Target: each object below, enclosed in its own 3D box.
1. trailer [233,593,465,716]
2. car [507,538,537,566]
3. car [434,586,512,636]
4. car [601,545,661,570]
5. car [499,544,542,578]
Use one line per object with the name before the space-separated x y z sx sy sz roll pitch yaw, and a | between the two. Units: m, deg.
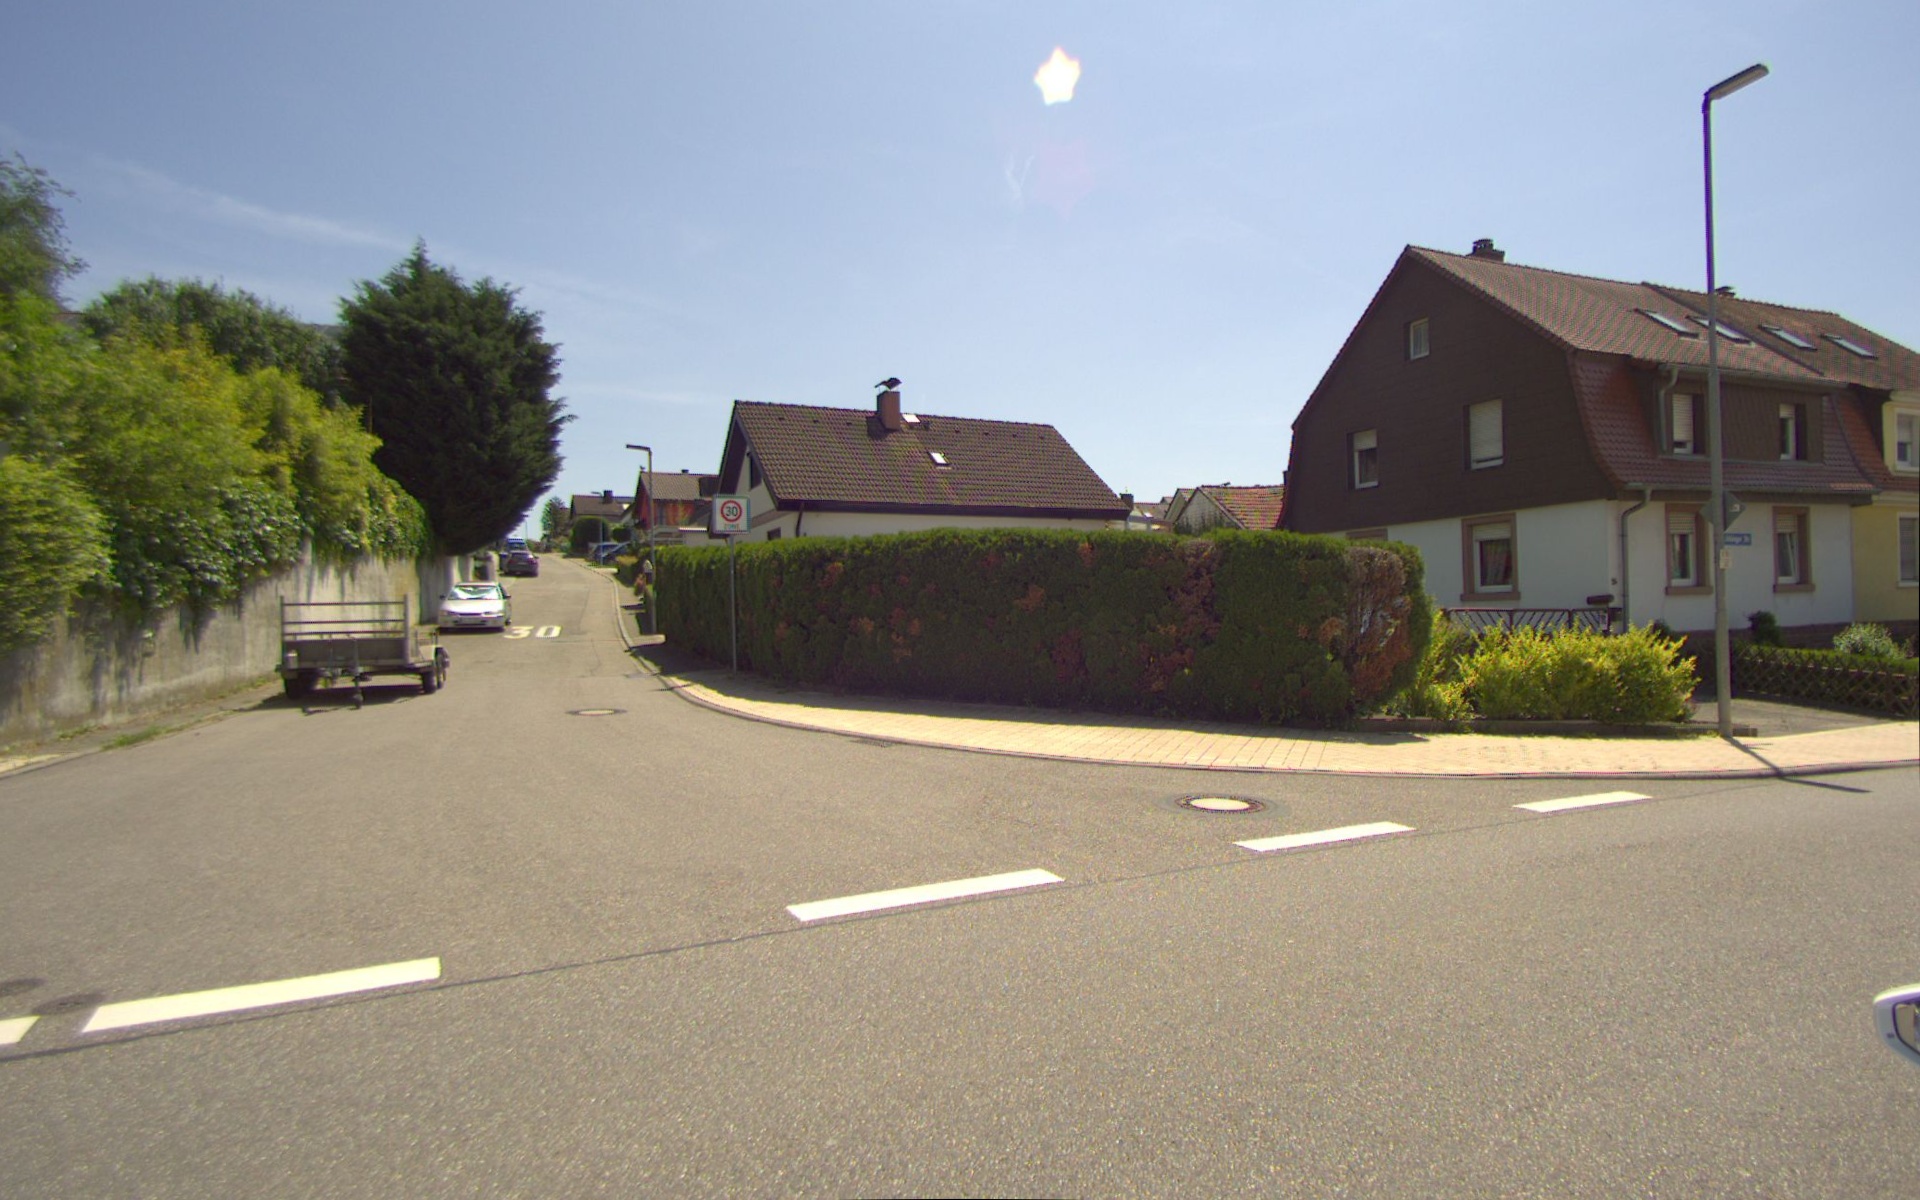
trailer | -8.926 0.658 15.184 1.969 1.525 5.056 0 0 -19
car | -32.534 -3.550 74.719 1.906 1.847 3.980 1 0 -22
car | -13.963 0.268 28.950 1.723 1.207 3.759 1 3 -22
car | -23.335 -3.004 71.159 3.942 1.617 1.686 1 0 -22
car | -25.633 -2.306 58.695 2.160 1.847 4.282 0 3 -22
